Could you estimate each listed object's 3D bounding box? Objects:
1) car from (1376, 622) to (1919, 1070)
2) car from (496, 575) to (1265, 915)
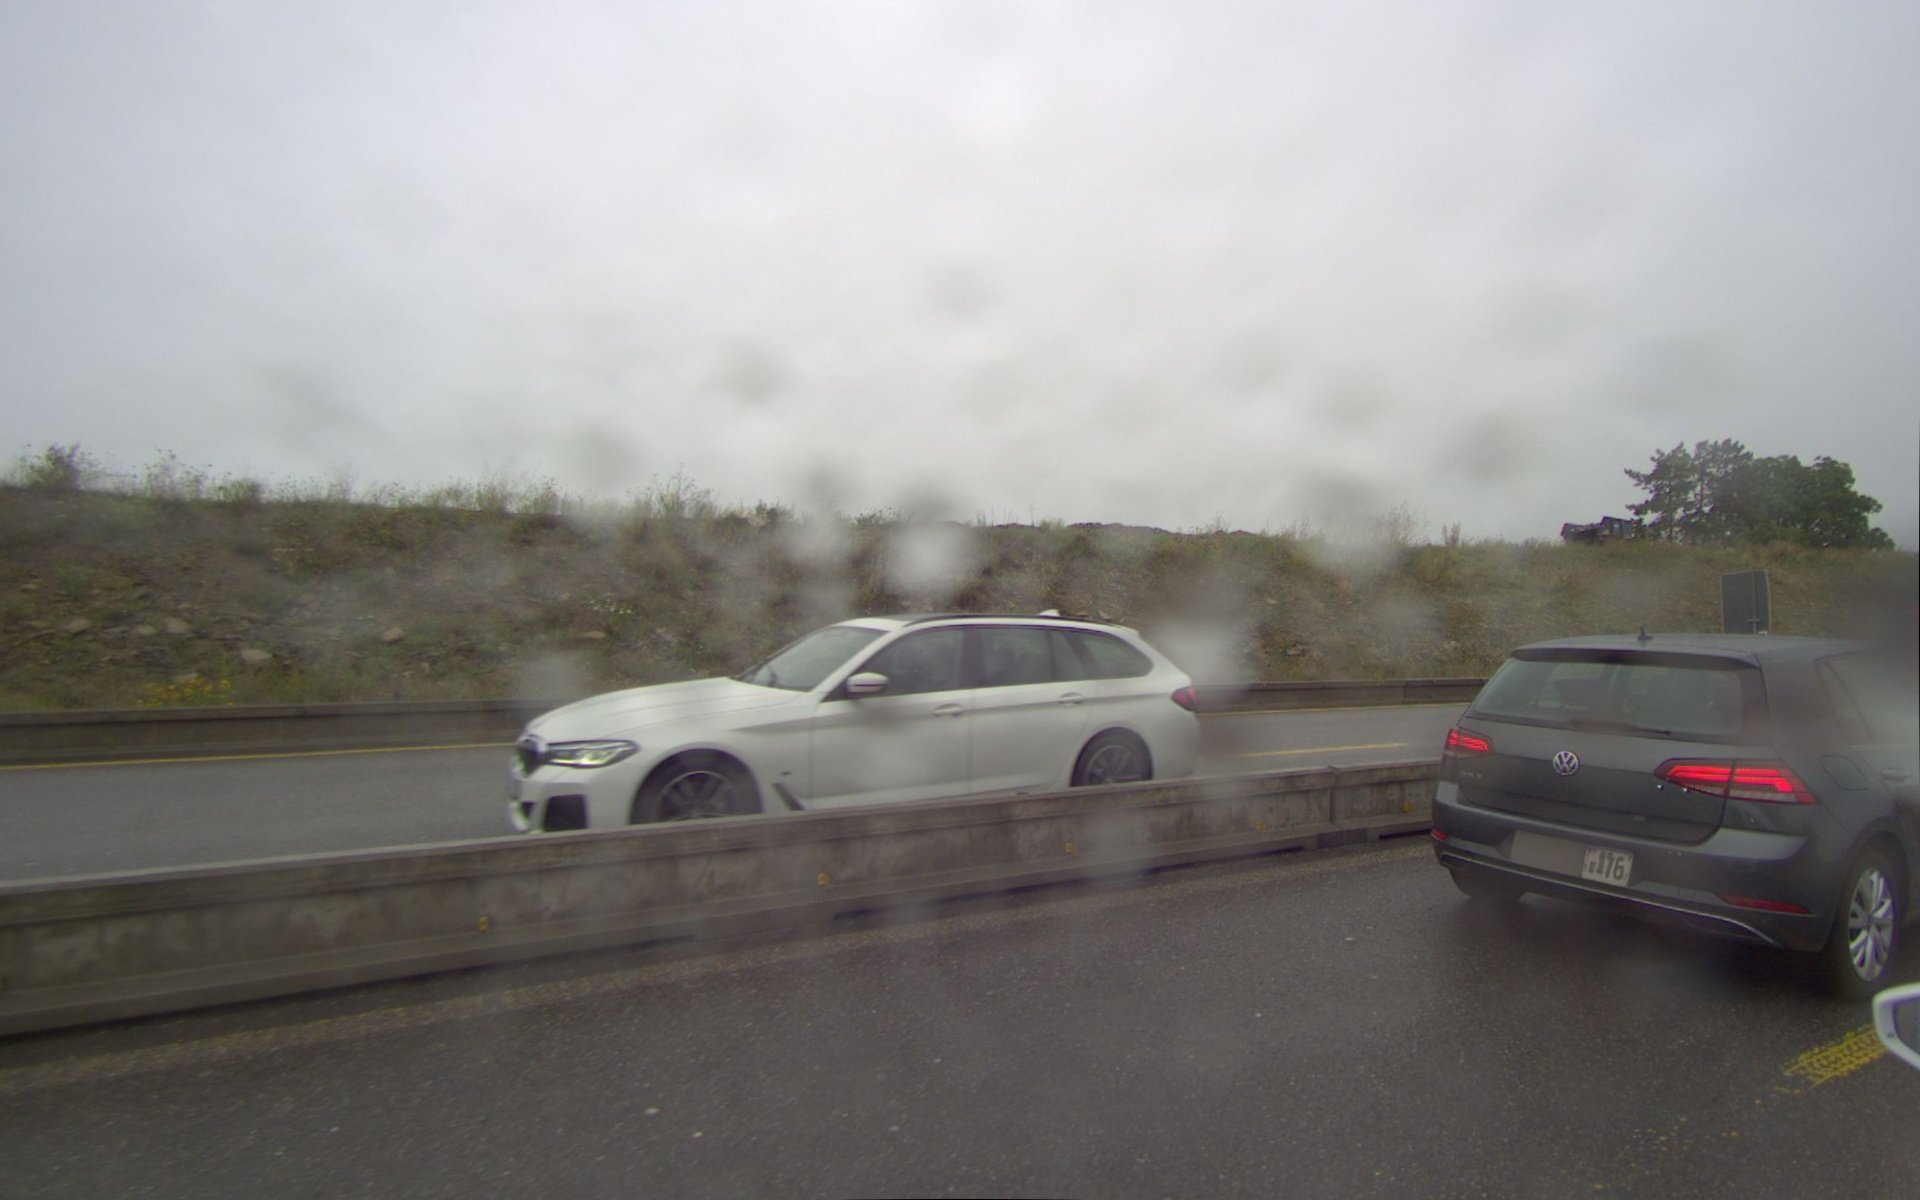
[{"bbox_3d":[4.265,0.921,5.229,4.316,1.526,1.607,2,-2,-30],"label":"car"},{"bbox_3d":[-0.441,0.784,6.980,4.928,1.654,2.037,2,-1,-29],"label":"car"}]
